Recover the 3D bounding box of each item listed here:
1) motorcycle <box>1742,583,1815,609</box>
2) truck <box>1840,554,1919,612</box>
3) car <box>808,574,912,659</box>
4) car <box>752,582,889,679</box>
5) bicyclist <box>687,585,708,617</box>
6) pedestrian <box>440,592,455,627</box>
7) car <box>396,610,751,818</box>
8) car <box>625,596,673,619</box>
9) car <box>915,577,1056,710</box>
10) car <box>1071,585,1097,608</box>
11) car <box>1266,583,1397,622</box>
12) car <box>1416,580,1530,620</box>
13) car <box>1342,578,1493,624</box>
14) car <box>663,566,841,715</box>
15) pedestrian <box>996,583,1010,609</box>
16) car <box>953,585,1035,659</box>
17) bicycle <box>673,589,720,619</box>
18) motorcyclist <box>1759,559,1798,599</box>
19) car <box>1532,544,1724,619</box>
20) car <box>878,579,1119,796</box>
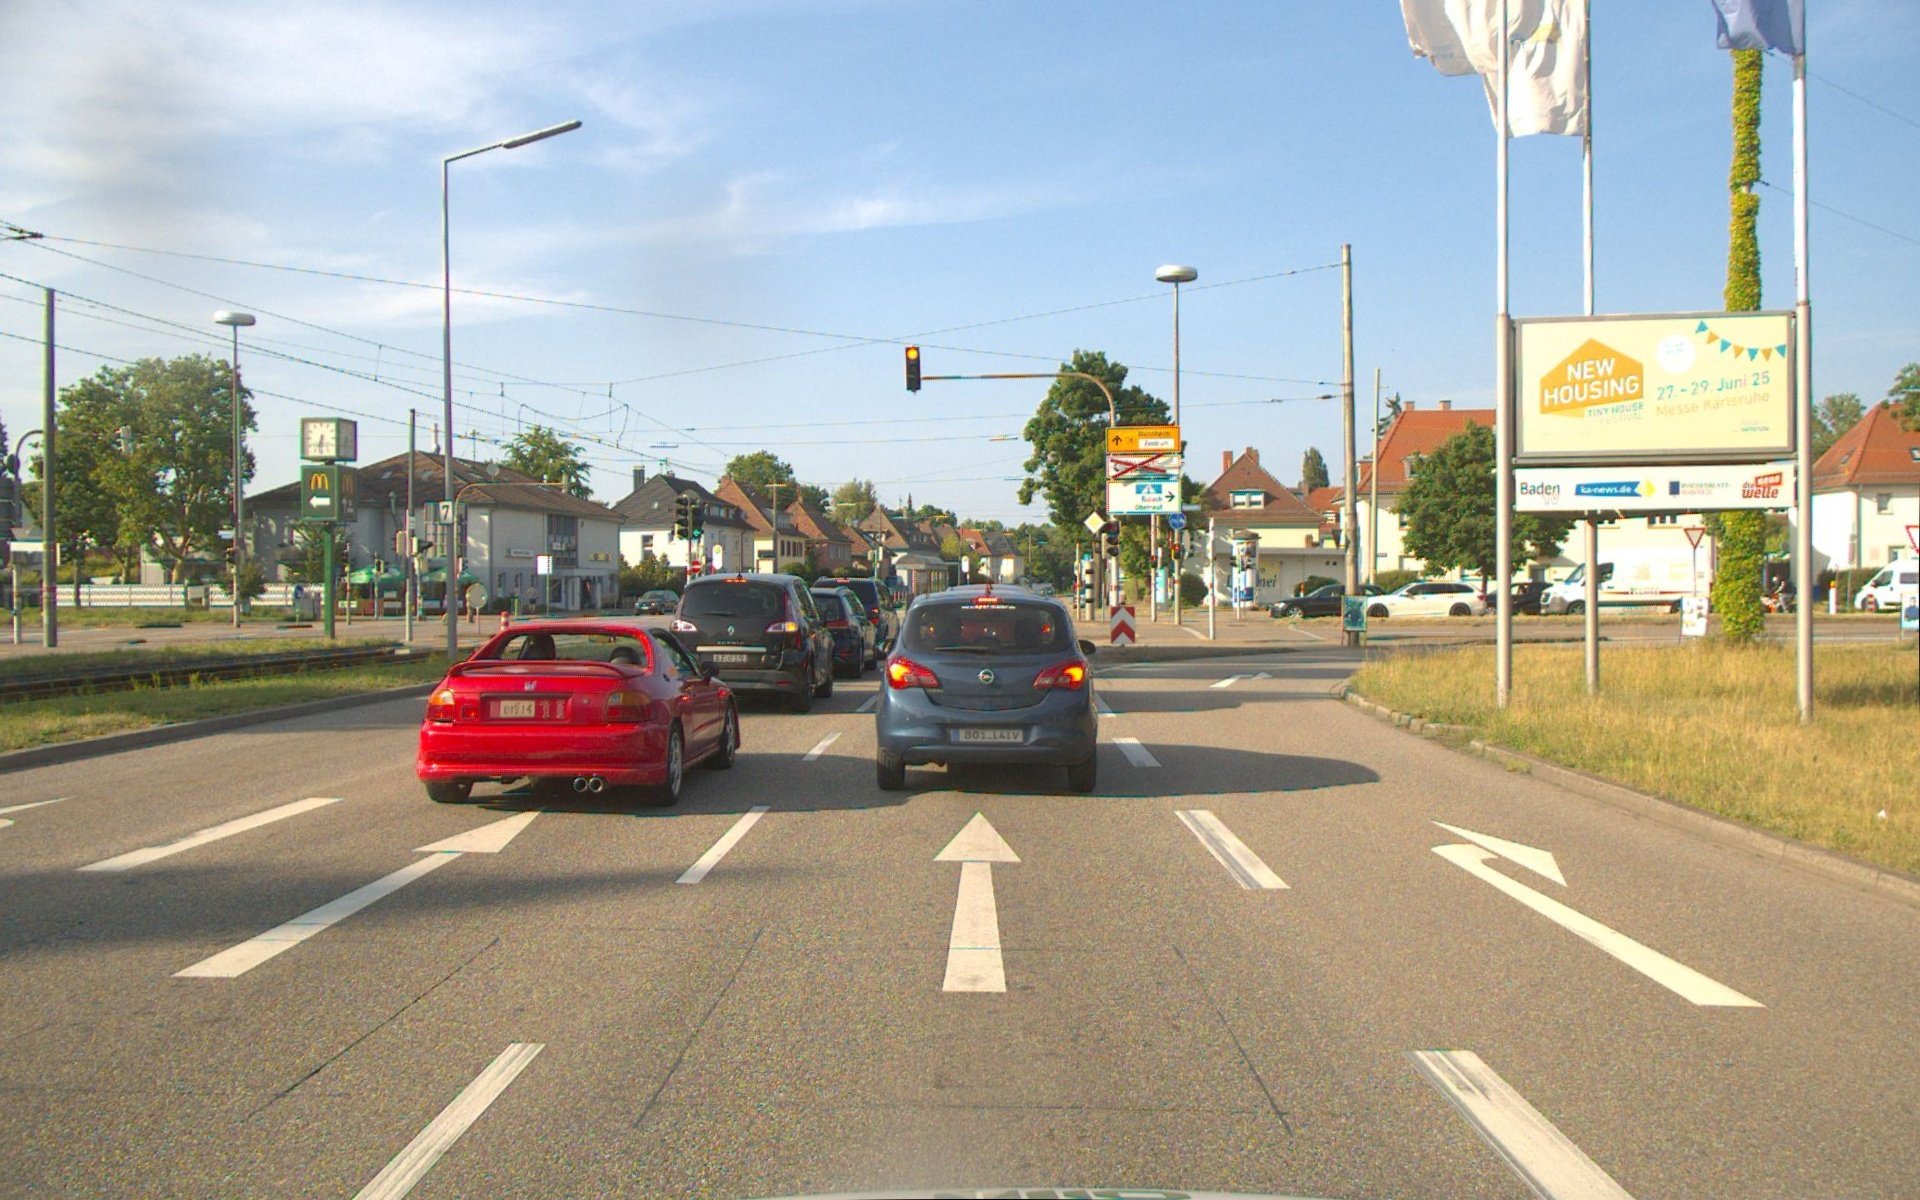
[{"bbox_3d":[28.979,-0.143,58.555,2.224,0.882,0.691,0,0,2],"label":"motorcycle"},{"bbox_3d":[43.124,-0.789,74.134,2.248,2.568,6.290,-1,1,-31],"label":"truck"},{"bbox_3d":[-2.077,0.312,35.615,1.474,1.680,4.747,-1,0,6],"label":"car"},{"bbox_3d":[-2.314,0.464,28.481,1.664,1.534,4.556,0,1,4],"label":"car"},{"bbox_3d":[-12.127,0.036,76.420,0.867,1.456,1.135,1,0,-6],"label":"bicyclist"},{"bbox_3d":[-23.911,0.425,77.229,0.501,1.627,0.540,0,0,2],"label":"pedestrian"},{"bbox_3d":[-2.704,0.737,12.450,1.695,1.227,3.847,1,1,1],"label":"car"},{"bbox_3d":[-18.982,0.458,101.226,1.628,1.369,4.080,-1,-1,8],"label":"car"},{"bbox_3d":[0.326,0.511,21.905,1.671,1.579,3.978,-1,0,1],"label":"car"},{"bbox_3d":[8.119,-0.226,108.667,1.639,1.422,4.002,1,0,4],"label":"car"},{"bbox_3d":[14.291,0.092,63.737,4.722,1.436,1.717,-1,0,4],"label":"car"},{"bbox_3d":[19.634,-0.008,63.410,3.903,1.478,1.717,-1,0,4],"label":"car"},{"bbox_3d":[16.537,0.043,59.966,4.987,1.590,1.841,-1,0,4],"label":"car"},{"bbox_3d":[-2.527,0.442,20.964,1.727,1.700,4.084,0,1,0],"label":"car"},{"bbox_3d":[2.580,-0.241,98.496,0.737,1.525,0.827,1,-1,5],"label":"pedestrian"},{"bbox_3d":[0.708,0.418,35.018,1.622,1.468,4.015,-1,0,1],"label":"car"},{"bbox_3d":[-12.175,0.193,76.422,2.034,1.371,1.107,1,0,-6],"label":"bicycle"},{"bbox_3d":[28.970,-0.743,58.549,1.043,1.375,0.680,0,0,2],"label":"motorcyclist"},{"bbox_3d":[24.021,-0.654,59.650,6.078,2.628,2.001,0,0,3],"label":"car"},{"bbox_3d":[0.255,0.594,13.885,1.706,1.532,4.222,0,1,-1],"label":"car"}]
